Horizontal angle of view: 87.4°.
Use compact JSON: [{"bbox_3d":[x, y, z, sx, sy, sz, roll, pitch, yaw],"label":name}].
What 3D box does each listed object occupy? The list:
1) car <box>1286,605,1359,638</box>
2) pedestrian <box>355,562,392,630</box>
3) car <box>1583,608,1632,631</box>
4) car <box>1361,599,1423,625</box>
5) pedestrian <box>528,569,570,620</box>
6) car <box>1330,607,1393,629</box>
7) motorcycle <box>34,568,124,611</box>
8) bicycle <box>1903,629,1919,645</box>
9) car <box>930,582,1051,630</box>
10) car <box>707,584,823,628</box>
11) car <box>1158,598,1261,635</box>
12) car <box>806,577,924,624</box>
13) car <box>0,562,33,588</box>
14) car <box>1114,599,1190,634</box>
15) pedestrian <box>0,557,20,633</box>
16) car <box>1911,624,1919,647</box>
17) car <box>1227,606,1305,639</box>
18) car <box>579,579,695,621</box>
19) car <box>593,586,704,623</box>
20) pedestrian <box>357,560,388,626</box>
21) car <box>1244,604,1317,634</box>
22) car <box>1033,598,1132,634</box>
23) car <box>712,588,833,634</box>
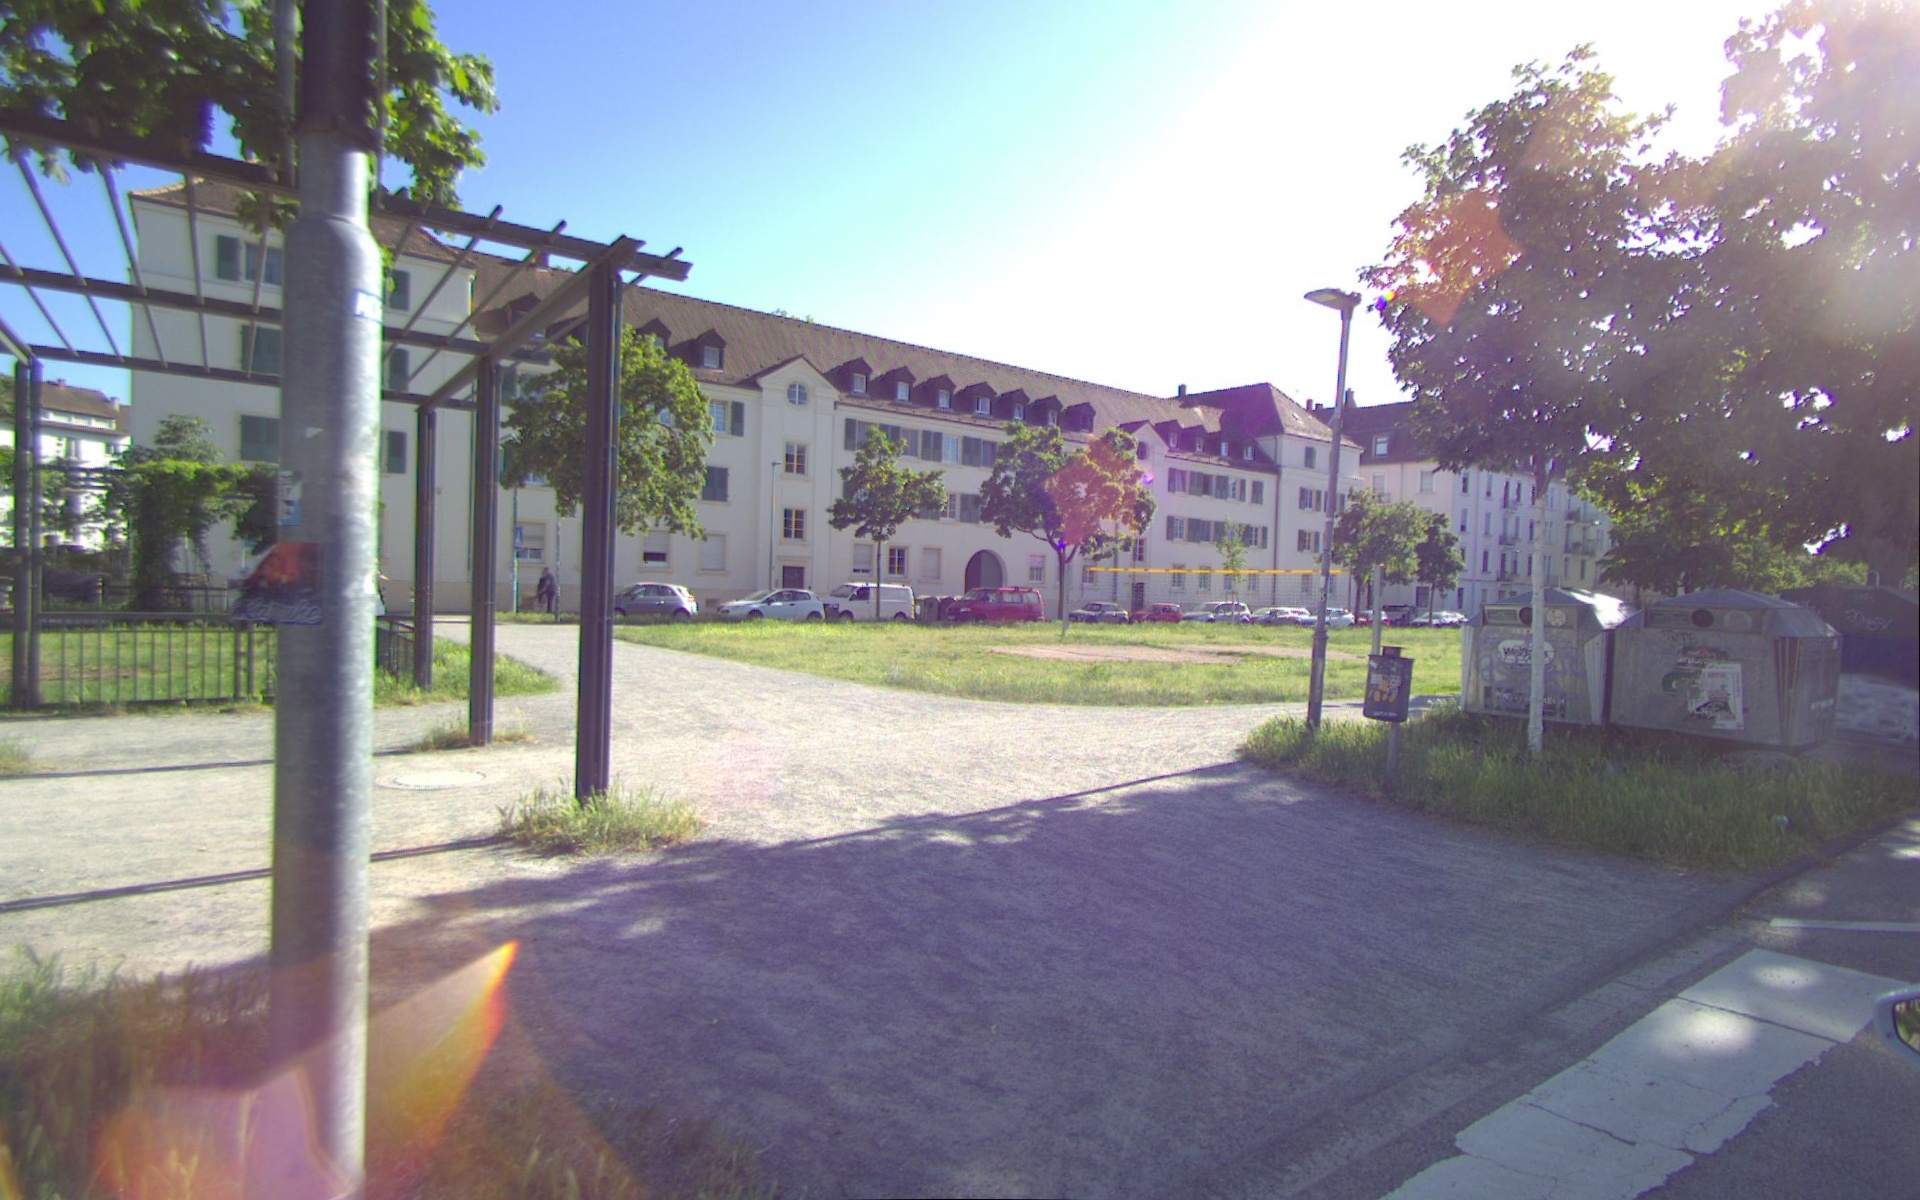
[{"bbox_3d":[21.978,1.307,60.859,4.221,1.844,2.218,2,1,-39],"label":"car"},{"bbox_3d":[-14.997,-0.107,25.689,0.742,1.707,0.540,1,1,-35],"label":"pedestrian"},{"bbox_3d":[56.221,1.688,87.153,5.055,1.897,2.064,2,1,-39],"label":"car"},{"bbox_3d":[37.928,1.048,88.315,2.123,2.040,4.524,1,1,-39],"label":"car"},{"bbox_3d":[-16.665,-0.222,40.756,1.155,1.989,1.327,1,1,-42],"label":"pedestrian"},{"bbox_3d":[29.309,1.337,73.266,4.914,1.504,1.978,2,0,-38],"label":"car"},{"bbox_3d":[-28.493,-0.327,32.551,2.126,1.322,0.809,1,1,-39],"label":"motorcycle"},{"bbox_3d":[65.606,2.571,68.354,1.944,1.030,0.658,2,1,26],"label":"bicycle"},{"bbox_3d":[1.423,0.294,44.982,5.213,2.011,2.202,2,1,-39],"label":"car"},{"bbox_3d":[-8.528,0.286,44.158,4.605,1.787,1.977,1,1,-39],"label":"car"},{"bbox_3d":[13.531,0.911,54.390,5.400,1.844,2.434,2,1,-36],"label":"car"},{"bbox_3d":[-4.427,0.039,47.344,5.213,2.011,2.202,2,1,-39],"label":"car"},{"bbox_3d":[-59.796,-1.614,62.865,2.022,1.539,3.779,2,1,-34],"label":"car"},{"bbox_3d":[11.454,0.968,59.739,4.130,1.930,2.246,2,1,-38],"label":"car"},{"bbox_3d":[-18.593,-0.106,19.355,0.669,1.458,0.538,1,1,-43],"label":"pedestrian"},{"bbox_3d":[64.464,2.391,64.694,4.270,1.428,1.917,2,3,30],"label":"car"},{"bbox_3d":[17.508,1.294,57.433,3.969,1.774,2.301,2,1,-35],"label":"car"},{"bbox_3d":[-11.198,0.012,34.894,3.483,1.350,1.637,2,1,-38],"label":"car"},{"bbox_3d":[-12.673,0.184,40.930,3.964,1.374,1.755,2,1,-38],"label":"car"},{"bbox_3d":[-15.388,-0.188,26.310,0.666,1.707,0.540,1,1,-32],"label":"pedestrian"},{"bbox_3d":[21.550,1.288,67.450,5.111,1.911,2.138,2,1,-37],"label":"car"},{"bbox_3d":[6.881,0.888,56.288,5.206,1.844,2.434,2,1,-36],"label":"car"},{"bbox_3d":[-7.105,0.431,38.262,4.198,1.605,1.775,2,1,-38],"label":"car"}]
